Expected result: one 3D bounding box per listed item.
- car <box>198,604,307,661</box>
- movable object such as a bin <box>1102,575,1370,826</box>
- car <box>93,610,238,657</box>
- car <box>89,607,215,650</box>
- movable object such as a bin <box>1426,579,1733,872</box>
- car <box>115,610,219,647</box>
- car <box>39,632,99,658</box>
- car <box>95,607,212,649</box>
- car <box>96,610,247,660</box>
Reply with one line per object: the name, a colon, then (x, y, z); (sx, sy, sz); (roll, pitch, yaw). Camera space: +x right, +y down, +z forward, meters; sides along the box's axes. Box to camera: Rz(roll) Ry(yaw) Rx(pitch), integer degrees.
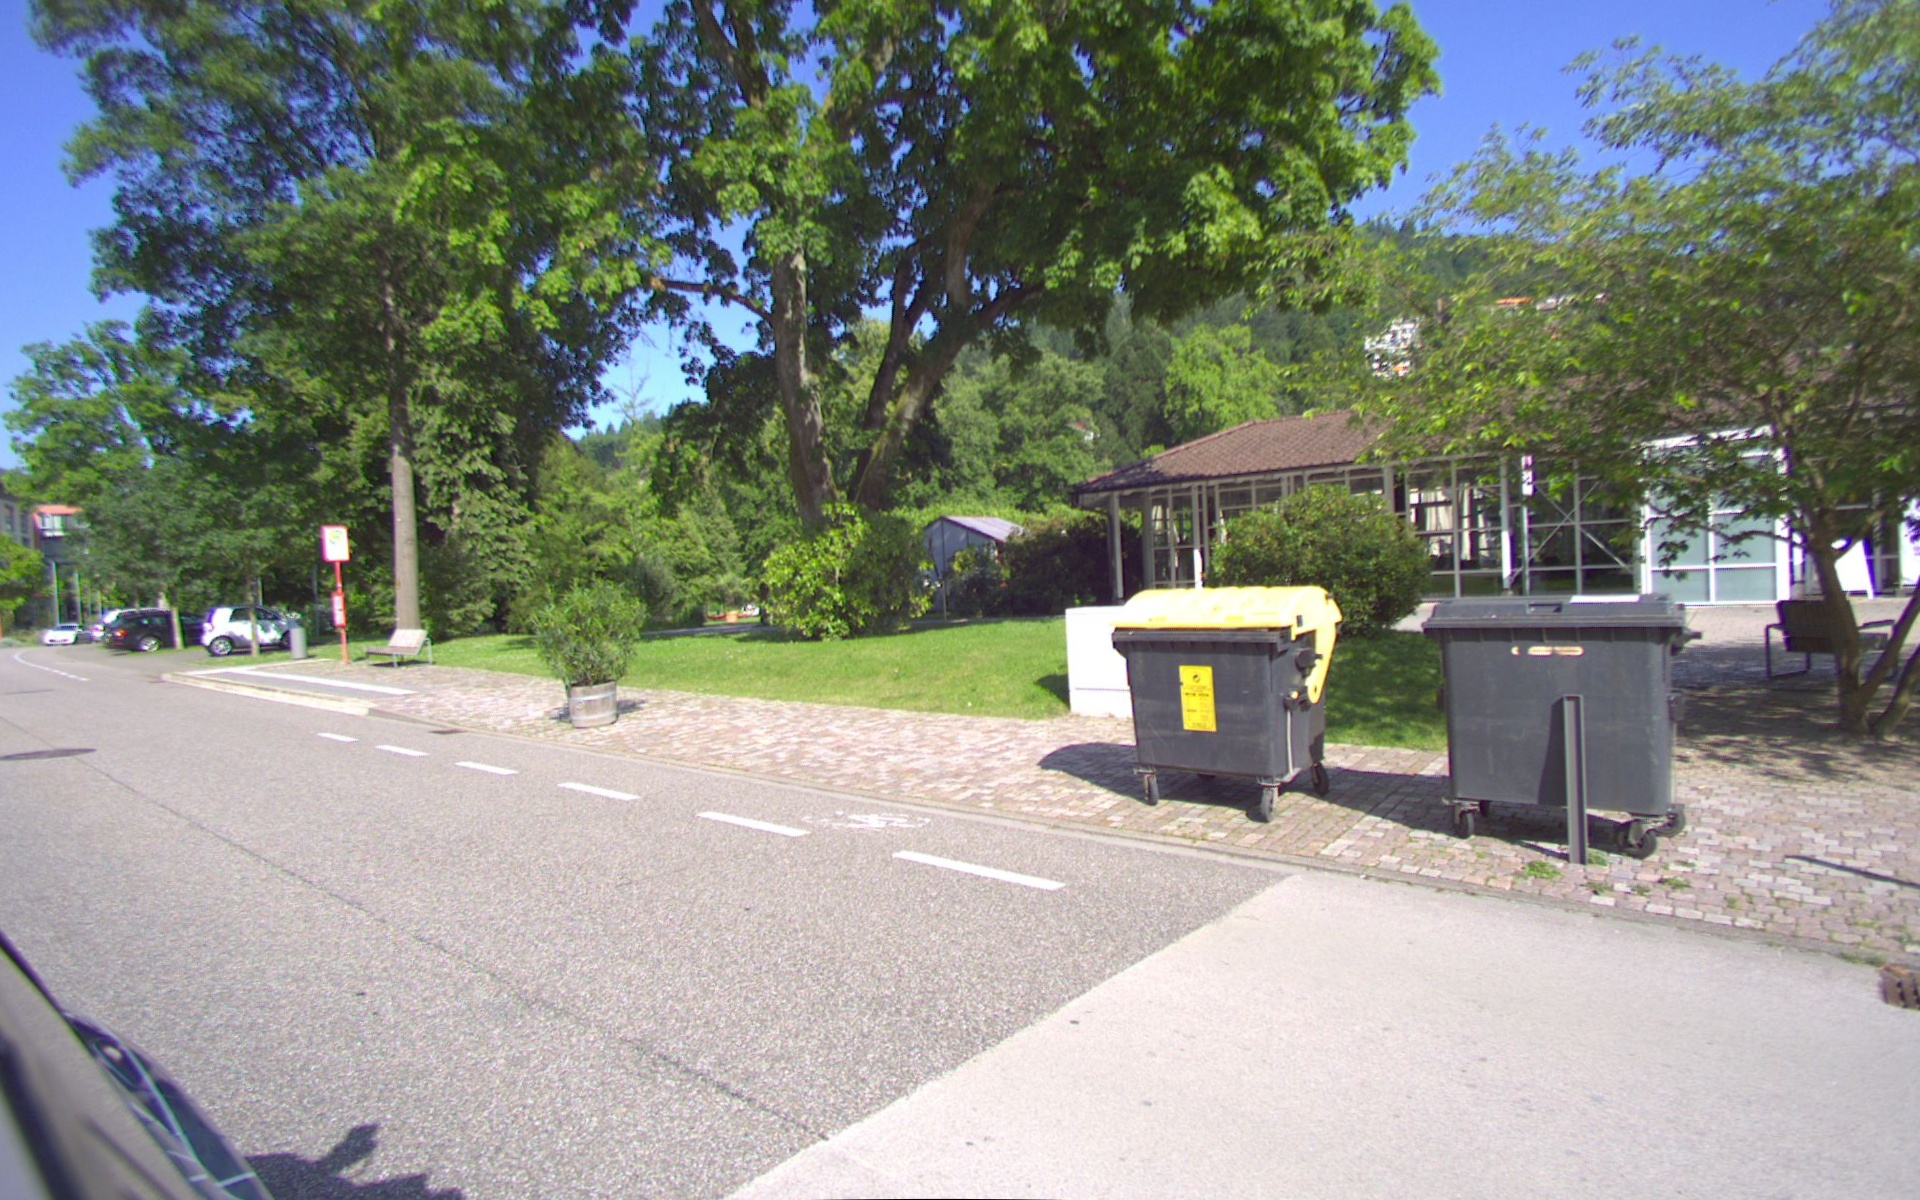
car: (-22.975, 1.026, 32.883); (2.619, 1.558, 1.685); (-6, 3, -41)
movable object such as a bin: (1.880, 0.611, 6.889); (1.376, 1.437, 1.068); (-2, 3, 40)
car: (-32.862, 1.353, 41.950); (1.713, 1.521, 4.447); (-2, 3, 42)
car: (-37.894, 1.295, 47.615); (4.426, 1.427, 1.814); (-8, 5, -36)
movable object such as a bin: (3.363, 0.611, 5.517); (1.293, 1.351, 0.747); (-2, 3, 40)
car: (-39.646, 1.376, 50.634); (3.939, 1.443, 1.722); (-6, 4, -41)
car: (-62.780, 3.156, 71.370); (1.627, 1.481, 4.013); (-5, 2, -19)
car: (-41.598, 1.407, 52.260); (4.433, 1.675, 1.811); (-7, 4, -44)
car: (-30.410, 1.310, 39.123); (1.710, 1.442, 4.238); (-2, 3, 37)
